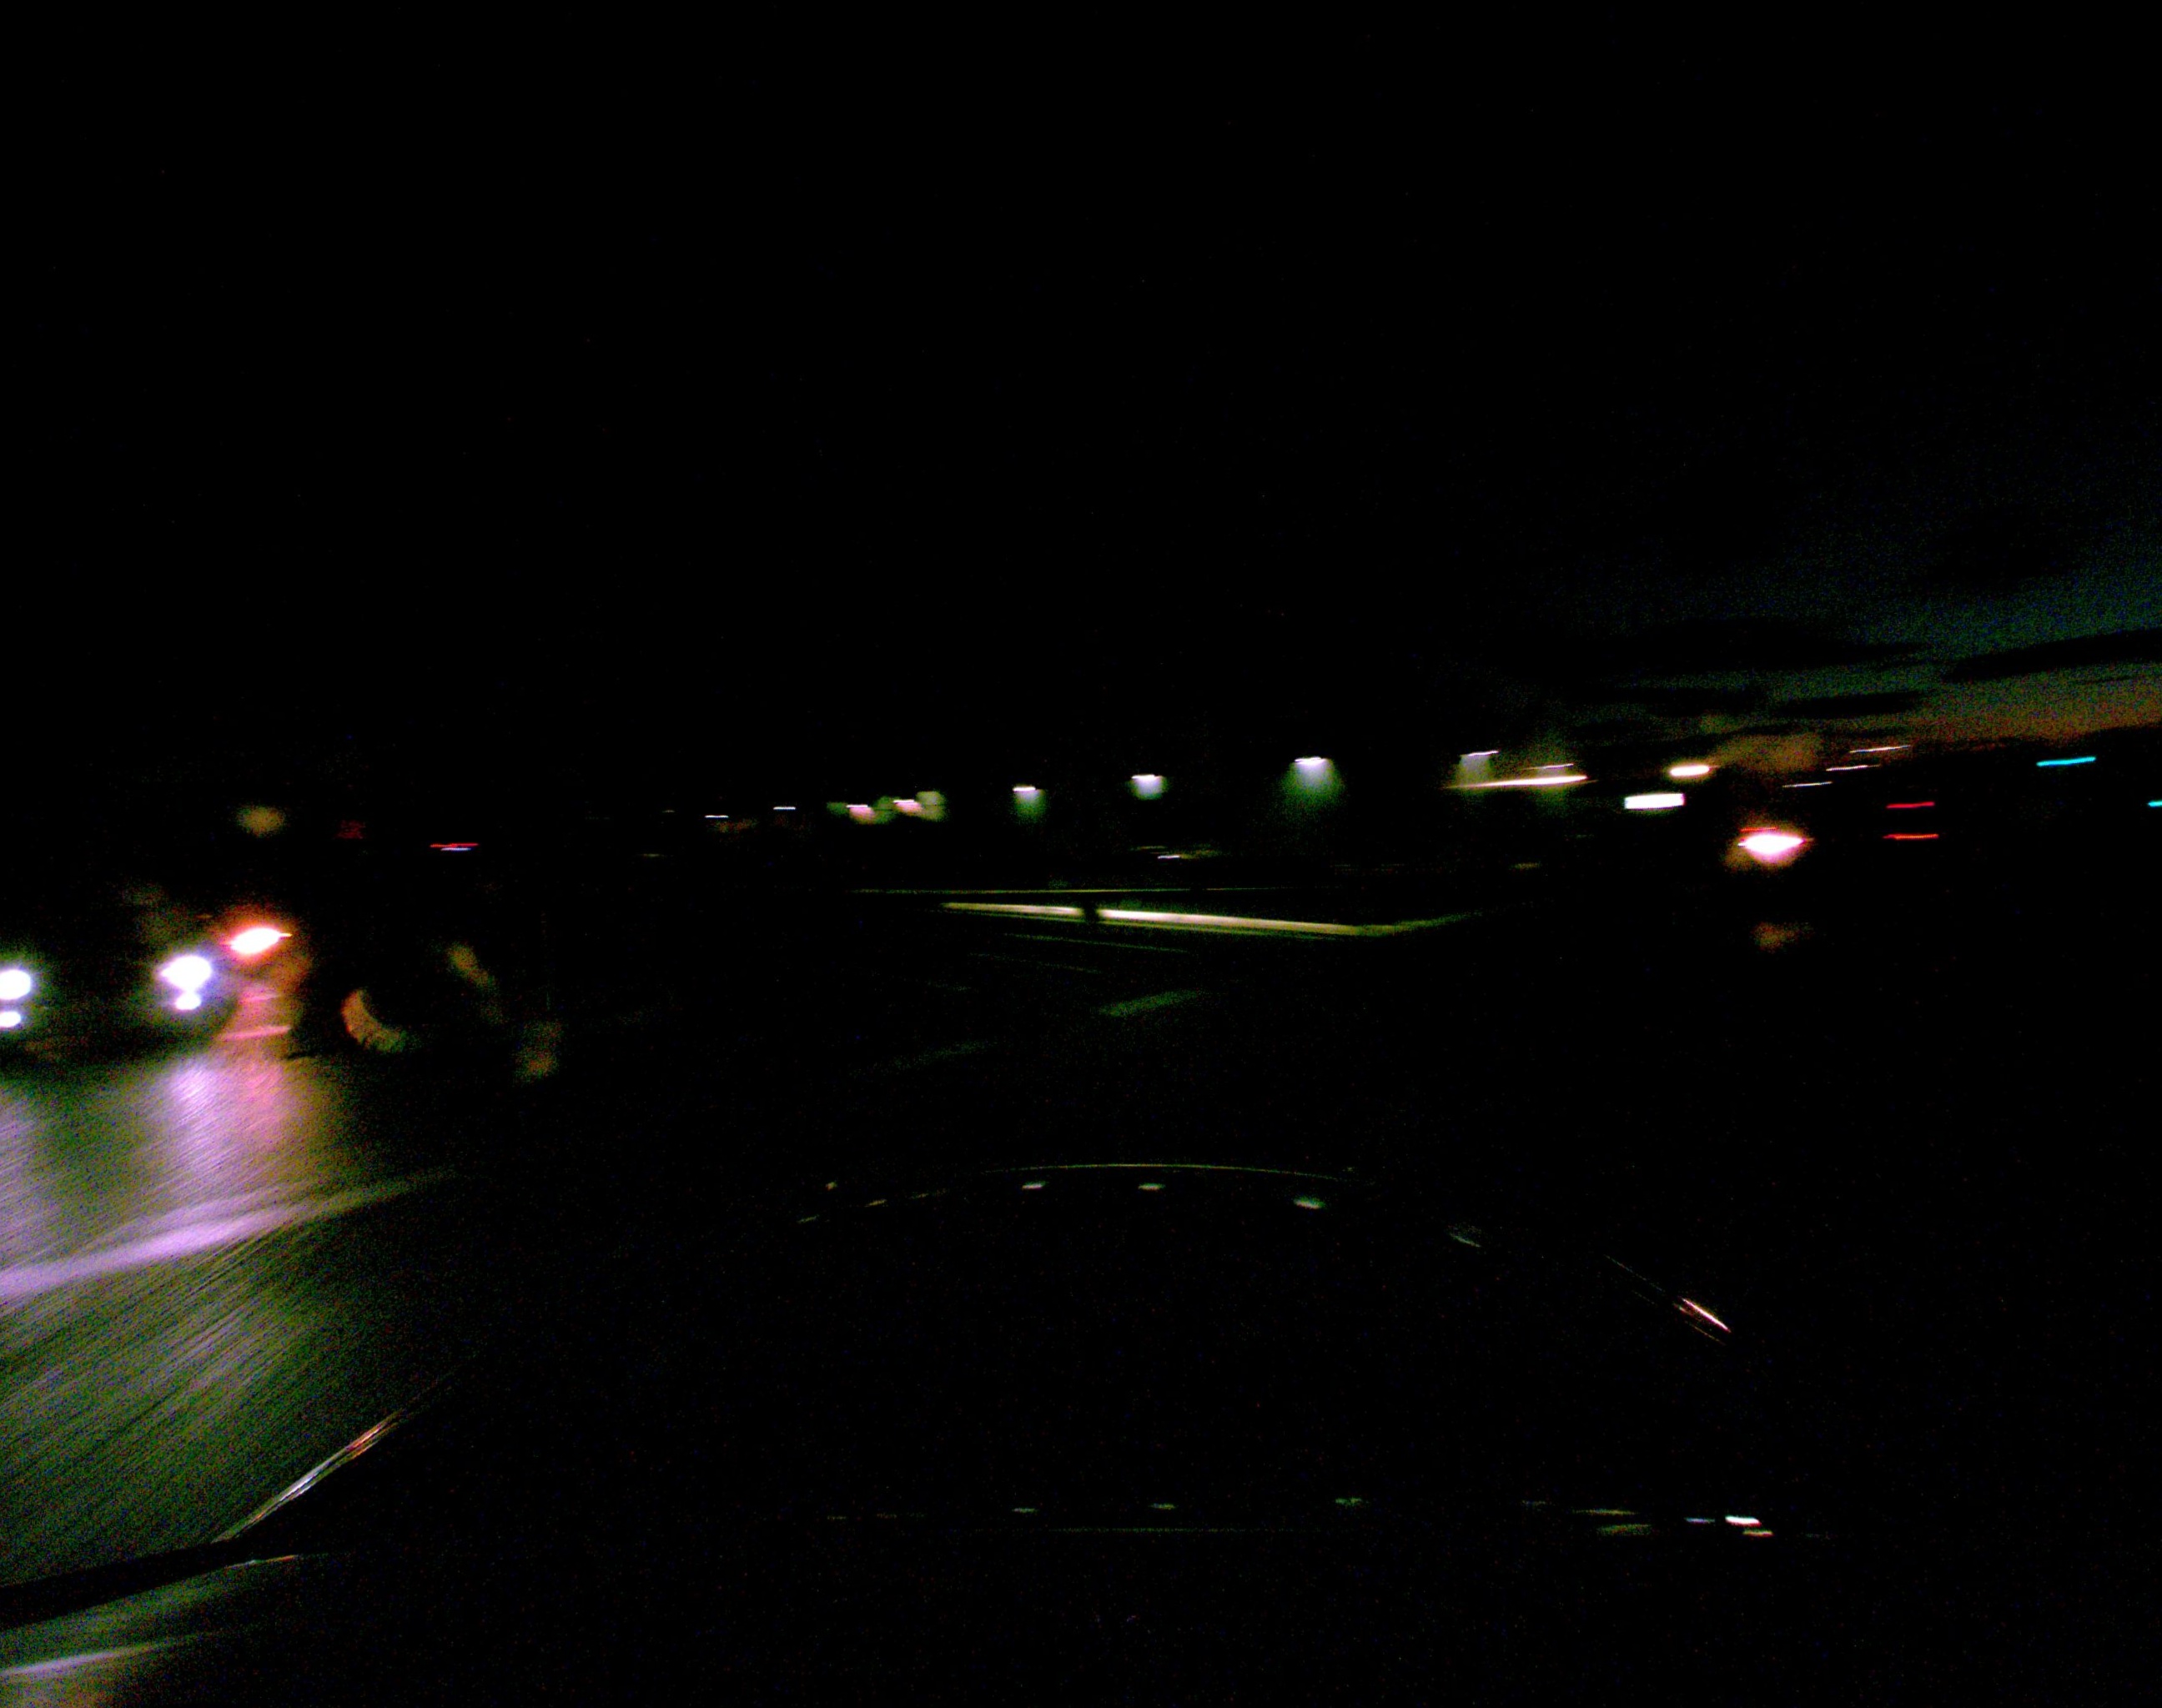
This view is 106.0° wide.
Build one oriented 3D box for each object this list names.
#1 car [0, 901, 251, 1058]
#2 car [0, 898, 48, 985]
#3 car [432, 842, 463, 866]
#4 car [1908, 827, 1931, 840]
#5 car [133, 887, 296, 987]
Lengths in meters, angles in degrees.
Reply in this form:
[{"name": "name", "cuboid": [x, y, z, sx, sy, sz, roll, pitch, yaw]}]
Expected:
[{"name": "car", "cuboid": [-11.876, 1.405, 10.276, 1.714, 1.474, 3.823, -2, -1, -42]}, {"name": "car", "cuboid": [-20.491, 1.666, 14.561, 1.698, 1.459, 3.767, -5, 3, -40]}, {"name": "car", "cuboid": [-56.505, -0.050, 72.731, 2.009, 2.013, 3.956, -2, 2, -36]}, {"name": "car", "cuboid": [118.842, -2.863, 115.489, 1.916, 1.646, 4.025, -2, 1, 41]}, {"name": "car", "cuboid": [-16.941, 1.512, 16.123, 1.725, 1.444, 3.938, -3, 3, -40]}]
